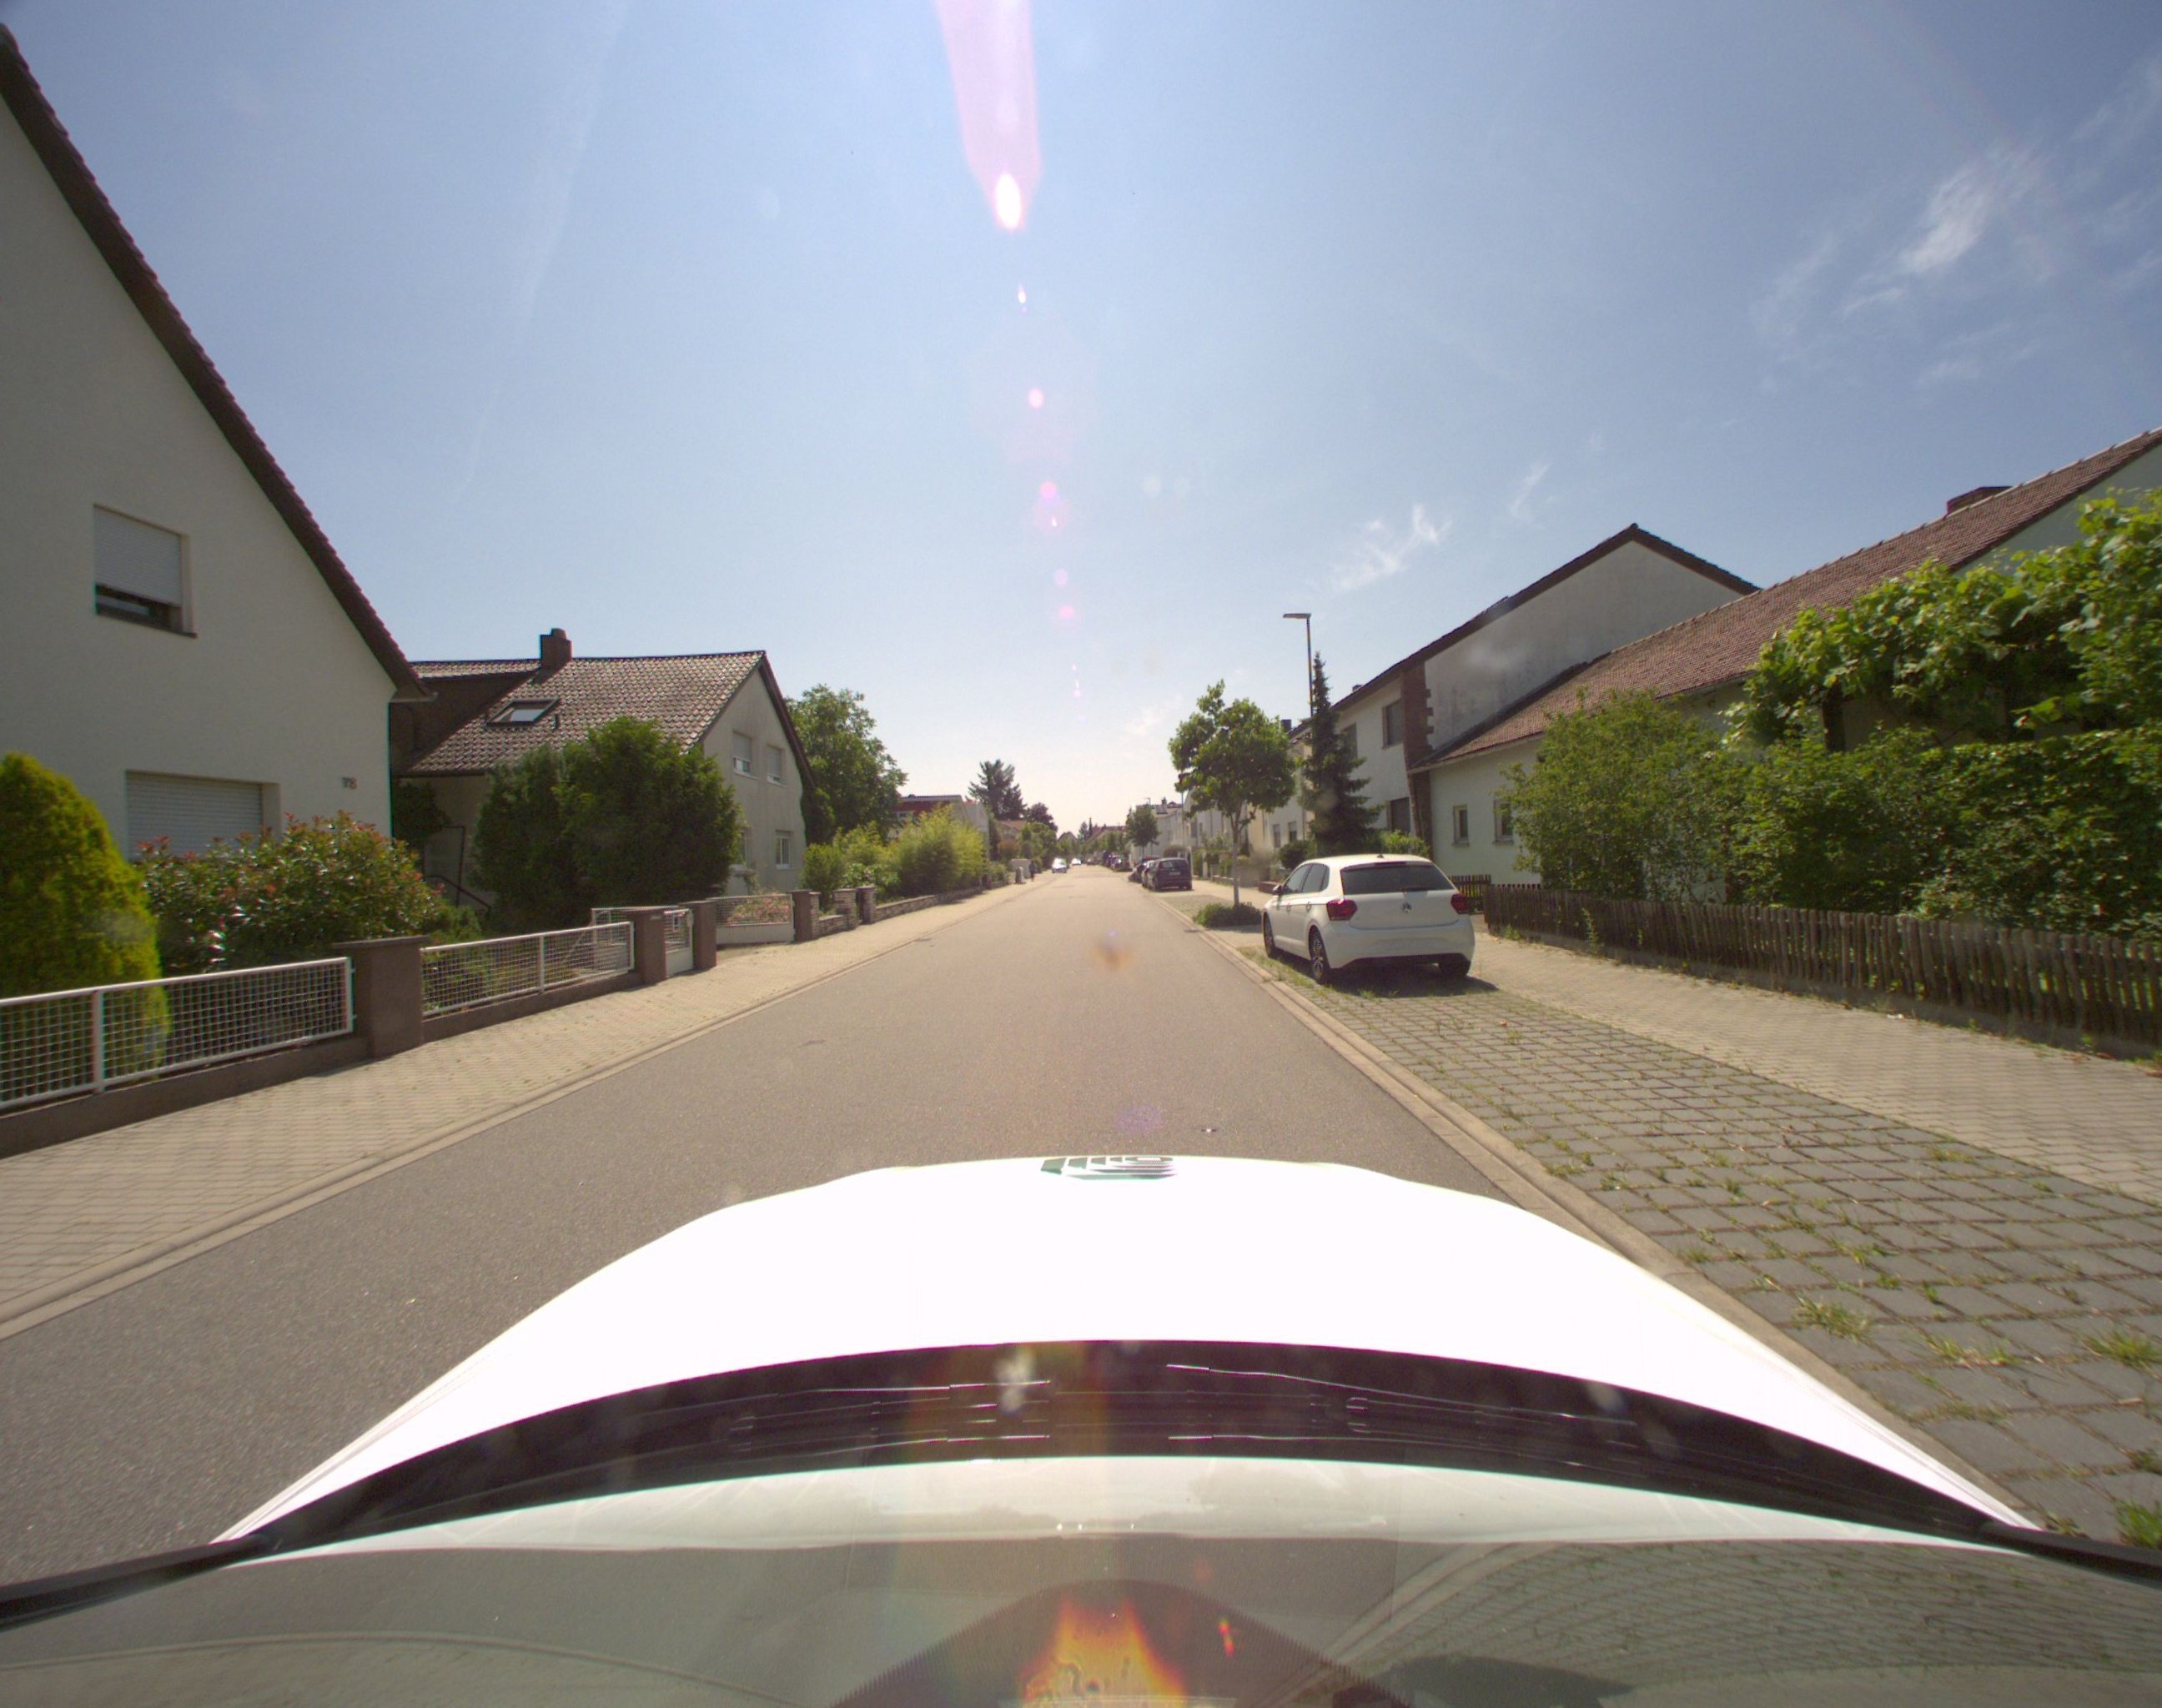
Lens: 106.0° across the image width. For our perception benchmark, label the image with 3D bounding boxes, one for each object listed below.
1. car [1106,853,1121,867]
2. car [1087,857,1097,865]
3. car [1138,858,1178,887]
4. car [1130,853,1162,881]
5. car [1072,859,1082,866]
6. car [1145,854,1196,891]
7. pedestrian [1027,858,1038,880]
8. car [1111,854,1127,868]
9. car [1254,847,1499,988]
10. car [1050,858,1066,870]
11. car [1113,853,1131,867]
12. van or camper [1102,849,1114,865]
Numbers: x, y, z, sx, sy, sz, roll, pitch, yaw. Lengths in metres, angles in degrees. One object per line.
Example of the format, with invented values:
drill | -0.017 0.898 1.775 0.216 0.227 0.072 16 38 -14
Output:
car | 5.052 0.901 127.454 1.987 1.947 5.215 -3 0 1
car | 2.291 1.400 168.862 1.986 1.430 4.002 -3 0 2
car | 4.092 0.945 43.865 1.808 1.420 4.094 -2 0 1
car | 4.204 0.812 53.117 1.808 1.656 4.566 -2 0 1
car | -0.934 1.897 182.987 1.845 1.478 4.702 -2 0 2
car | 4.132 0.828 38.133 1.737 1.533 4.446 -2 0 -1
pedestrian | -3.985 1.207 66.964 0.712 1.747 0.961 -2 -1 1
car | 5.248 0.954 113.241 2.092 1.882 4.844 -2 0 1
car | 3.542 0.671 10.572 1.808 1.420 3.869 -2 0 1
car | -2.915 1.273 105.025 1.845 1.488 4.385 -2 0 1
car | 4.814 0.729 96.599 1.768 1.595 4.276 -2 0 -2
van or camper | 5.046 0.611 152.365 1.987 2.941 4.000 -2 0 0
